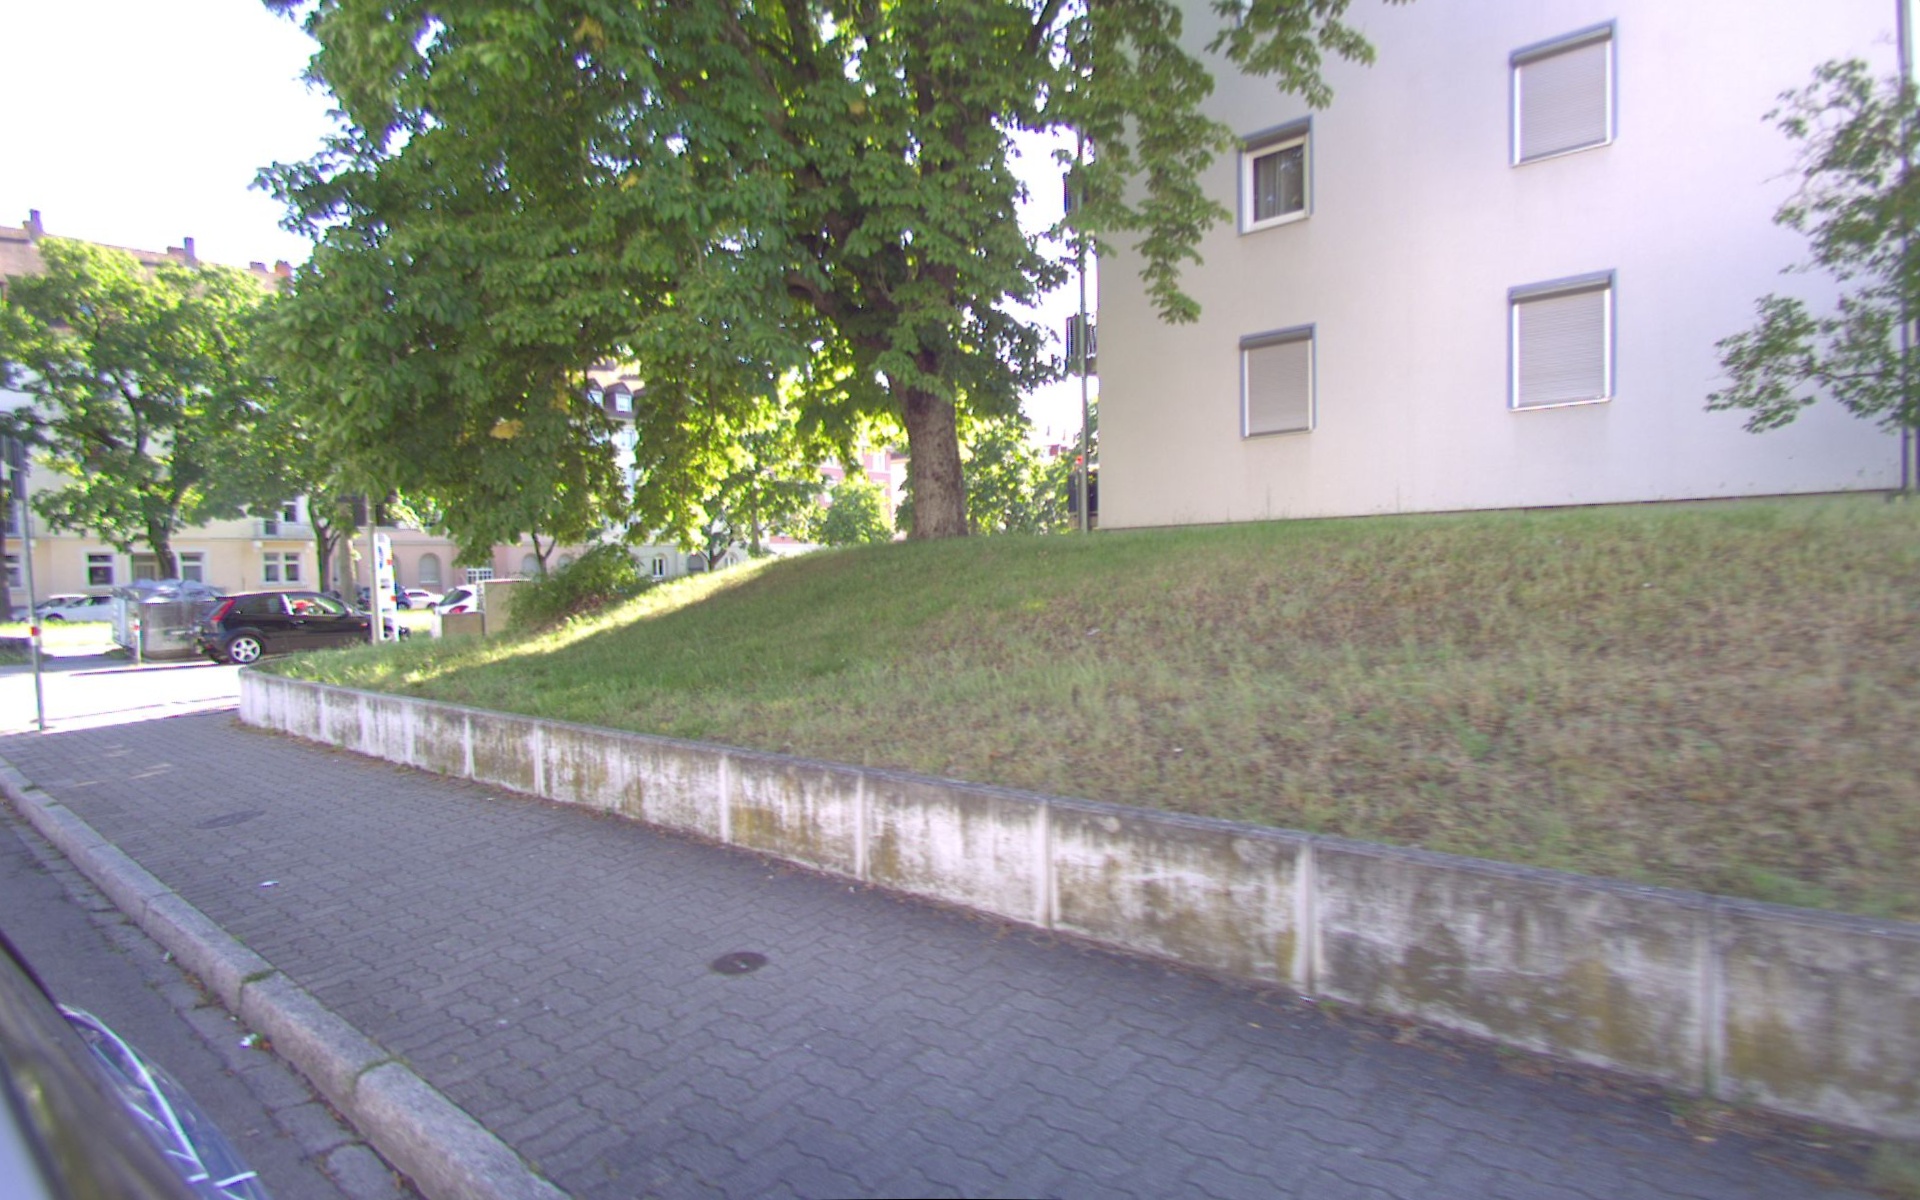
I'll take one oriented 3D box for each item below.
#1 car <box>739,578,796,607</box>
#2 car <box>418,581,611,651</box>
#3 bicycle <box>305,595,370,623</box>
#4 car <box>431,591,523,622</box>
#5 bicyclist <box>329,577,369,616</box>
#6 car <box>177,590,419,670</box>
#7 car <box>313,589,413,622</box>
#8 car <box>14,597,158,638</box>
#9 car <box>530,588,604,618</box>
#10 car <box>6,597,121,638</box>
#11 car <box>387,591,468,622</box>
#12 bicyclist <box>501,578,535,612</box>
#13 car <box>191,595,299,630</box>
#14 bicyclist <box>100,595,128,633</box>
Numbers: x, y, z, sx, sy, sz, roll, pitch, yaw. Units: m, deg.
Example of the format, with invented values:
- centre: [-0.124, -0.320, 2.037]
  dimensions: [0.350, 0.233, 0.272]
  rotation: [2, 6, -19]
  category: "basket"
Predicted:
- centre: [-15.523, -0.622, 81.885]
  dimensions: [1.780, 2.276, 4.405]
  rotation: [0, 2, 39]
  category: "car"
- centre: [-10.590, 0.360, 24.224]
  dimensions: [1.783, 1.506, 3.821]
  rotation: [-3, -1, 42]
  category: "car"
- centre: [-30.557, 0.417, 49.721]
  dimensions: [0.811, 1.261, 2.601]
  rotation: [0, 2, 38]
  category: "bicycle"
- centre: [-27.941, 0.352, 58.691]
  dimensions: [1.760, 1.560, 4.470]
  rotation: [0, 2, 39]
  category: "car"
- centre: [-30.199, -0.174, 50.051]
  dimensions: [0.943, 1.851, 1.432]
  rotation: [-1, 0, 36]
  category: "bicyclist"
- centre: [-13.593, 0.575, 20.933]
  dimensions: [1.753, 1.435, 3.862]
  rotation: [-3, -1, 42]
  category: "car"
- centre: [-31.729, 0.249, 53.895]
  dimensions: [1.635, 1.560, 4.299]
  rotation: [0, 2, 39]
  category: "car"
- centre: [-39.157, 0.745, 45.451]
  dimensions: [1.697, 1.573, 4.637]
  rotation: [0, 2, 39]
  category: "car"
- centre: [-24.349, 0.174, 62.823]
  dimensions: [1.635, 1.699, 4.028]
  rotation: [0, 2, 39]
  category: "car"
- centre: [-43.569, 0.802, 49.243]
  dimensions: [1.868, 1.770, 3.947]
  rotation: [0, 2, 40]
  category: "car"
- centre: [-32.524, 0.392, 61.856]
  dimensions: [1.852, 1.714, 3.943]
  rotation: [0, 2, 43]
  category: "car"
- centre: [-24.269, -0.279, 55.591]
  dimensions: [0.944, 1.851, 1.430]
  rotation: [-1, 0, 40]
  category: "bicyclist"
- centre: [-35.299, 0.586, 50.024]
  dimensions: [1.697, 1.538, 4.029]
  rotation: [0, 2, 39]
  category: "car"
- centre: [-39.657, 0.655, 47.434]
  dimensions: [0.631, 1.703, 0.868]
  rotation: [-1, 1, 38]
  category: "bicyclist"
